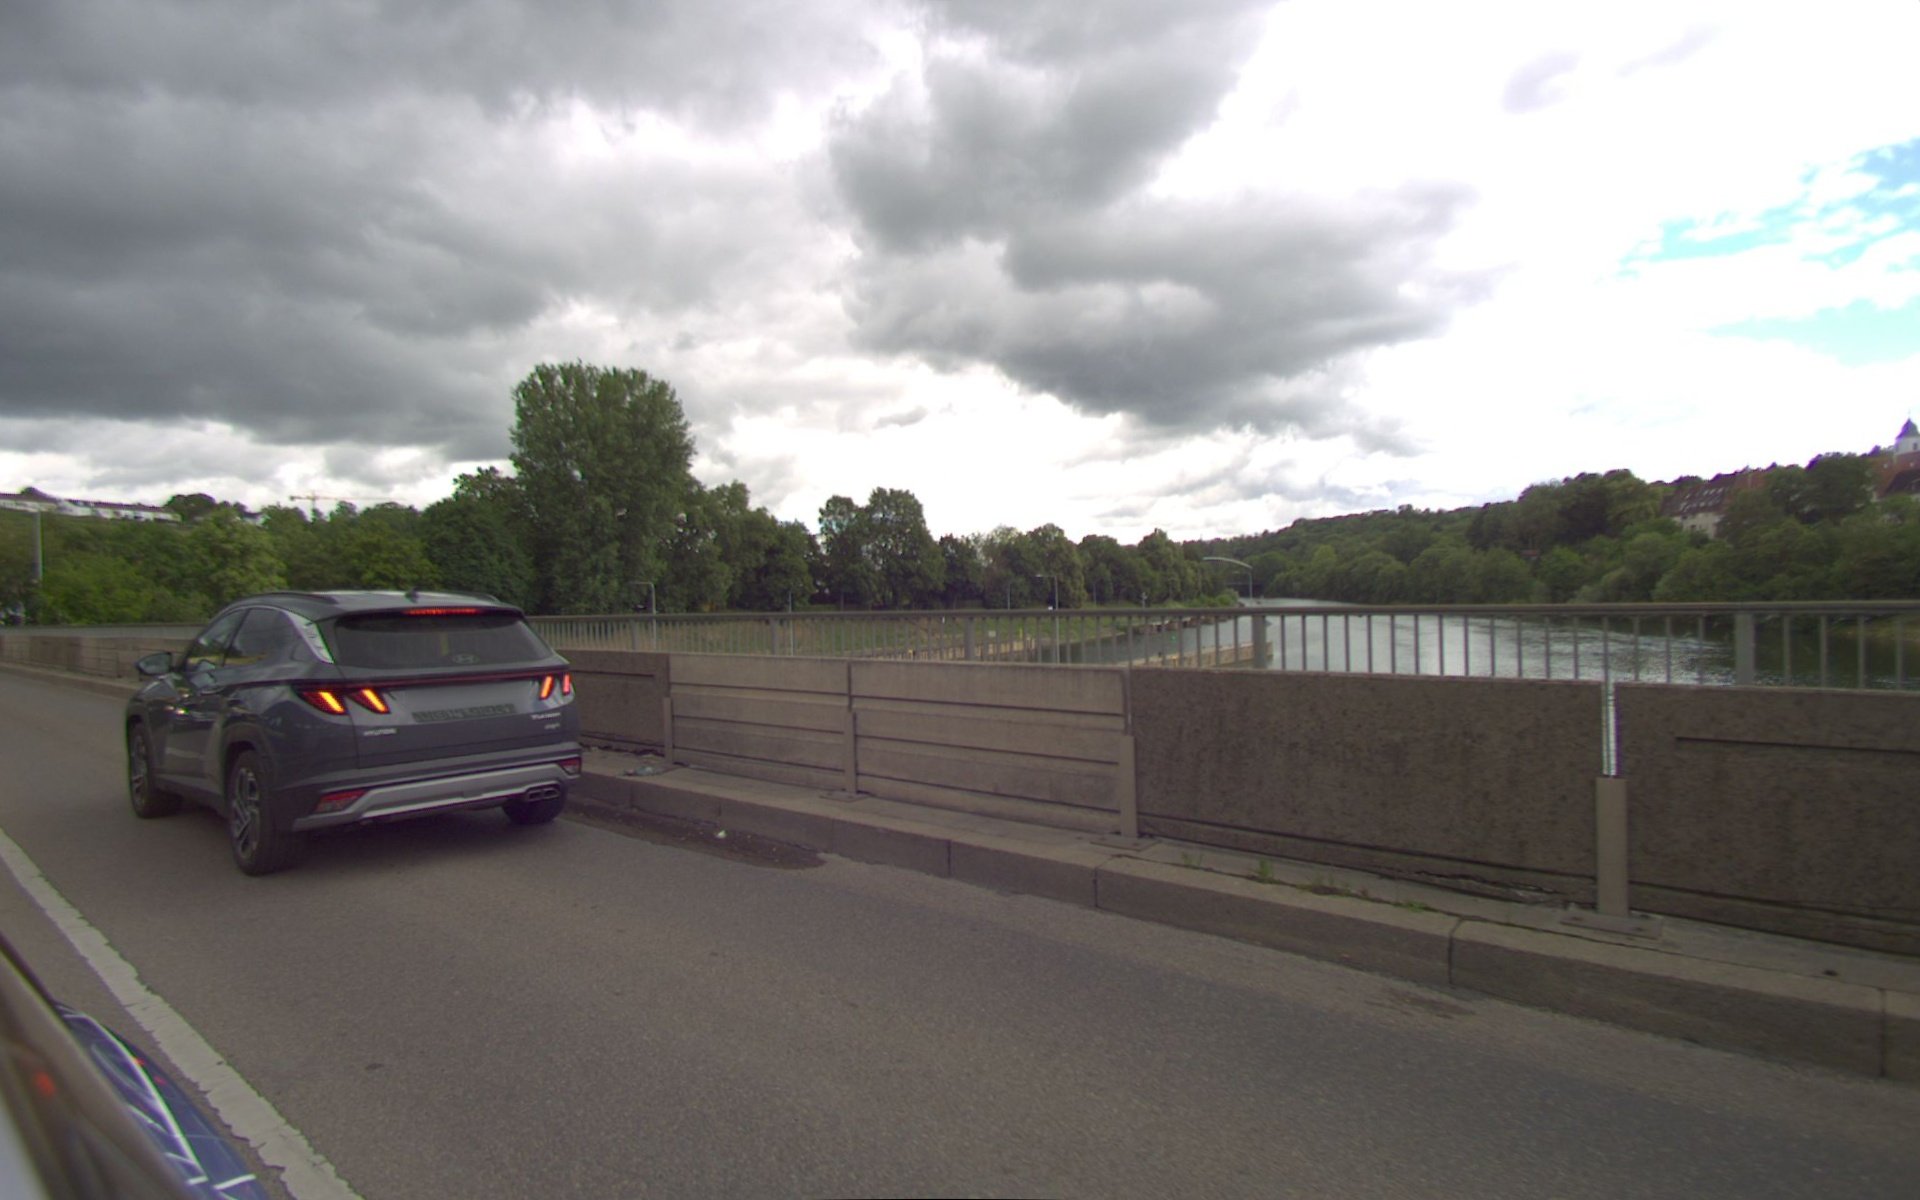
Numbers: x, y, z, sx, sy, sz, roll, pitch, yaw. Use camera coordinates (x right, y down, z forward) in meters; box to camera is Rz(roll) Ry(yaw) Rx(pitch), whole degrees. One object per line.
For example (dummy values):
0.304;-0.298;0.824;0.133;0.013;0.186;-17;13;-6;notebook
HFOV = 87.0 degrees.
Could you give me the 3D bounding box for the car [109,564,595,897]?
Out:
-4.353;0.709;6.999;3.997;1.658;1.698;-2;-2;40;car
